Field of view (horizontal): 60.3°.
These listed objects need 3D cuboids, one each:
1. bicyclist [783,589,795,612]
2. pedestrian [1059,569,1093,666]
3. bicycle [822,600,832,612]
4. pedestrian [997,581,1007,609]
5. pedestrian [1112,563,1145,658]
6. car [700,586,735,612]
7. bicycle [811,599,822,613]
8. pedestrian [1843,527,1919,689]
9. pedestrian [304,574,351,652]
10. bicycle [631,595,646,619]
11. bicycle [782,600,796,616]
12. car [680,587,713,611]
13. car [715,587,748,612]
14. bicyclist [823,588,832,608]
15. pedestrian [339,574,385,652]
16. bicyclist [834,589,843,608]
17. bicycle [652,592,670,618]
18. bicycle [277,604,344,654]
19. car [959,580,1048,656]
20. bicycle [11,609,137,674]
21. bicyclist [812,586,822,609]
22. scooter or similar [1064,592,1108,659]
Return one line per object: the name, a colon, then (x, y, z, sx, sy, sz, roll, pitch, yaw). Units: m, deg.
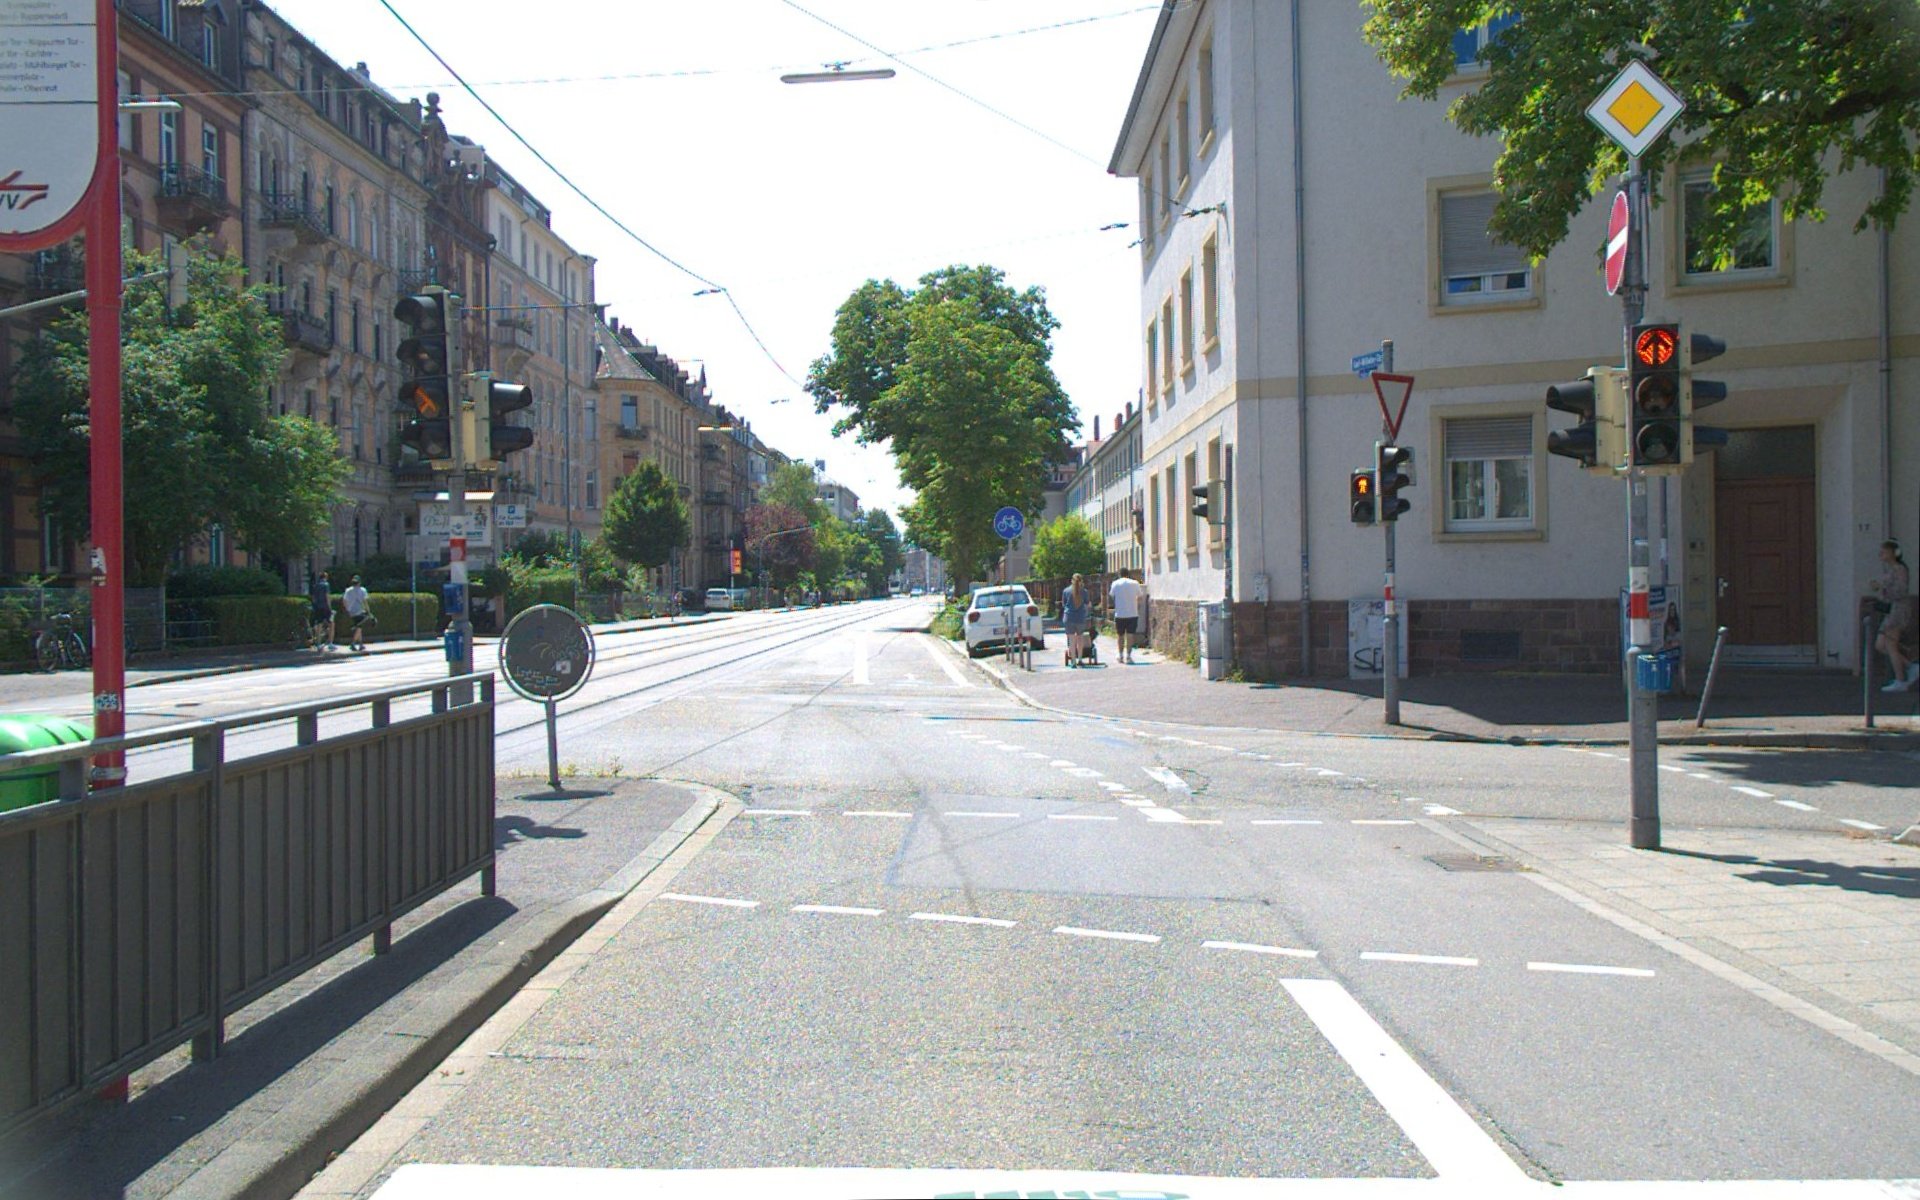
bicyclist: (-12.285, 0.028, 118.901, 0.712, 1.657, 1.079, 1, 0, 1)
pedestrian: (2.044, 0.300, 29.094, 0.545, 1.674, 0.677, 1, -1, 5)
bicycle: (-12.581, 0.571, 156.600, 0.712, 1.142, 2.085, 1, 0, 1)
pedestrian: (2.441, -0.306, 96.028, 0.511, 1.590, 0.573, -1, 0, -1)
pedestrian: (2.992, 0.185, 29.366, 0.545, 1.674, 0.677, 1, -1, 5)
car: (-16.875, -0.057, 115.310, 1.880, 1.745, 3.999, 1, 0, -1)
bicycle: (-11.644, 0.504, 134.389, 0.712, 1.142, 2.085, 1, 0, 1)
pedestrian: (10.567, 0.077, 18.577, 1.034, 1.719, 0.653, -4, 3, 29)
pedestrian: (-15.325, 0.306, 40.077, 0.800, 1.854, 0.873, 1, 1, -3)
bicycle: (-15.499, 0.333, 79.785, 0.665, 1.083, 1.913, -1, 0, -12)
bicycle: (-12.292, 0.560, 118.862, 0.712, 1.142, 2.085, 1, 0, 1)
car: (-19.675, -0.071, 123.604, 1.880, 1.745, 3.999, 1, 0, -1)
car: (-17.043, -0.025, 123.571, 1.880, 1.745, 3.999, 1, 0, -1)
bicyclist: (-12.583, -0.161, 156.539, 0.712, 1.850, 1.079, 1, 0, 1)
pedestrian: (-14.529, 0.313, 40.204, 0.800, 1.854, 0.873, 1, 1, -3)
bicyclist: (-11.529, -0.144, 156.511, 0.712, 1.850, 1.079, 1, 0, 1)
bicycle: (-15.276, 0.247, 84.432, 0.664, 1.301, 1.917, -1, 0, -4)
bicycle: (-15.881, 0.697, 40.512, 0.920, 1.156, 2.767, 1, 0, -9)
car: (0.927, 0.396, 37.326, 1.778, 1.542, 3.999, -3, 0, -1)
bicycle: (-16.713, 0.757, 31.301, 0.918, 1.156, 2.773, 1, 0, -2)
bicyclist: (-11.631, -0.203, 134.477, 0.712, 1.799, 1.079, 1, 0, 1)
scooter or similar: (2.293, 0.461, 29.997, 0.545, 1.175, 1.206, 1, 0, 17)
